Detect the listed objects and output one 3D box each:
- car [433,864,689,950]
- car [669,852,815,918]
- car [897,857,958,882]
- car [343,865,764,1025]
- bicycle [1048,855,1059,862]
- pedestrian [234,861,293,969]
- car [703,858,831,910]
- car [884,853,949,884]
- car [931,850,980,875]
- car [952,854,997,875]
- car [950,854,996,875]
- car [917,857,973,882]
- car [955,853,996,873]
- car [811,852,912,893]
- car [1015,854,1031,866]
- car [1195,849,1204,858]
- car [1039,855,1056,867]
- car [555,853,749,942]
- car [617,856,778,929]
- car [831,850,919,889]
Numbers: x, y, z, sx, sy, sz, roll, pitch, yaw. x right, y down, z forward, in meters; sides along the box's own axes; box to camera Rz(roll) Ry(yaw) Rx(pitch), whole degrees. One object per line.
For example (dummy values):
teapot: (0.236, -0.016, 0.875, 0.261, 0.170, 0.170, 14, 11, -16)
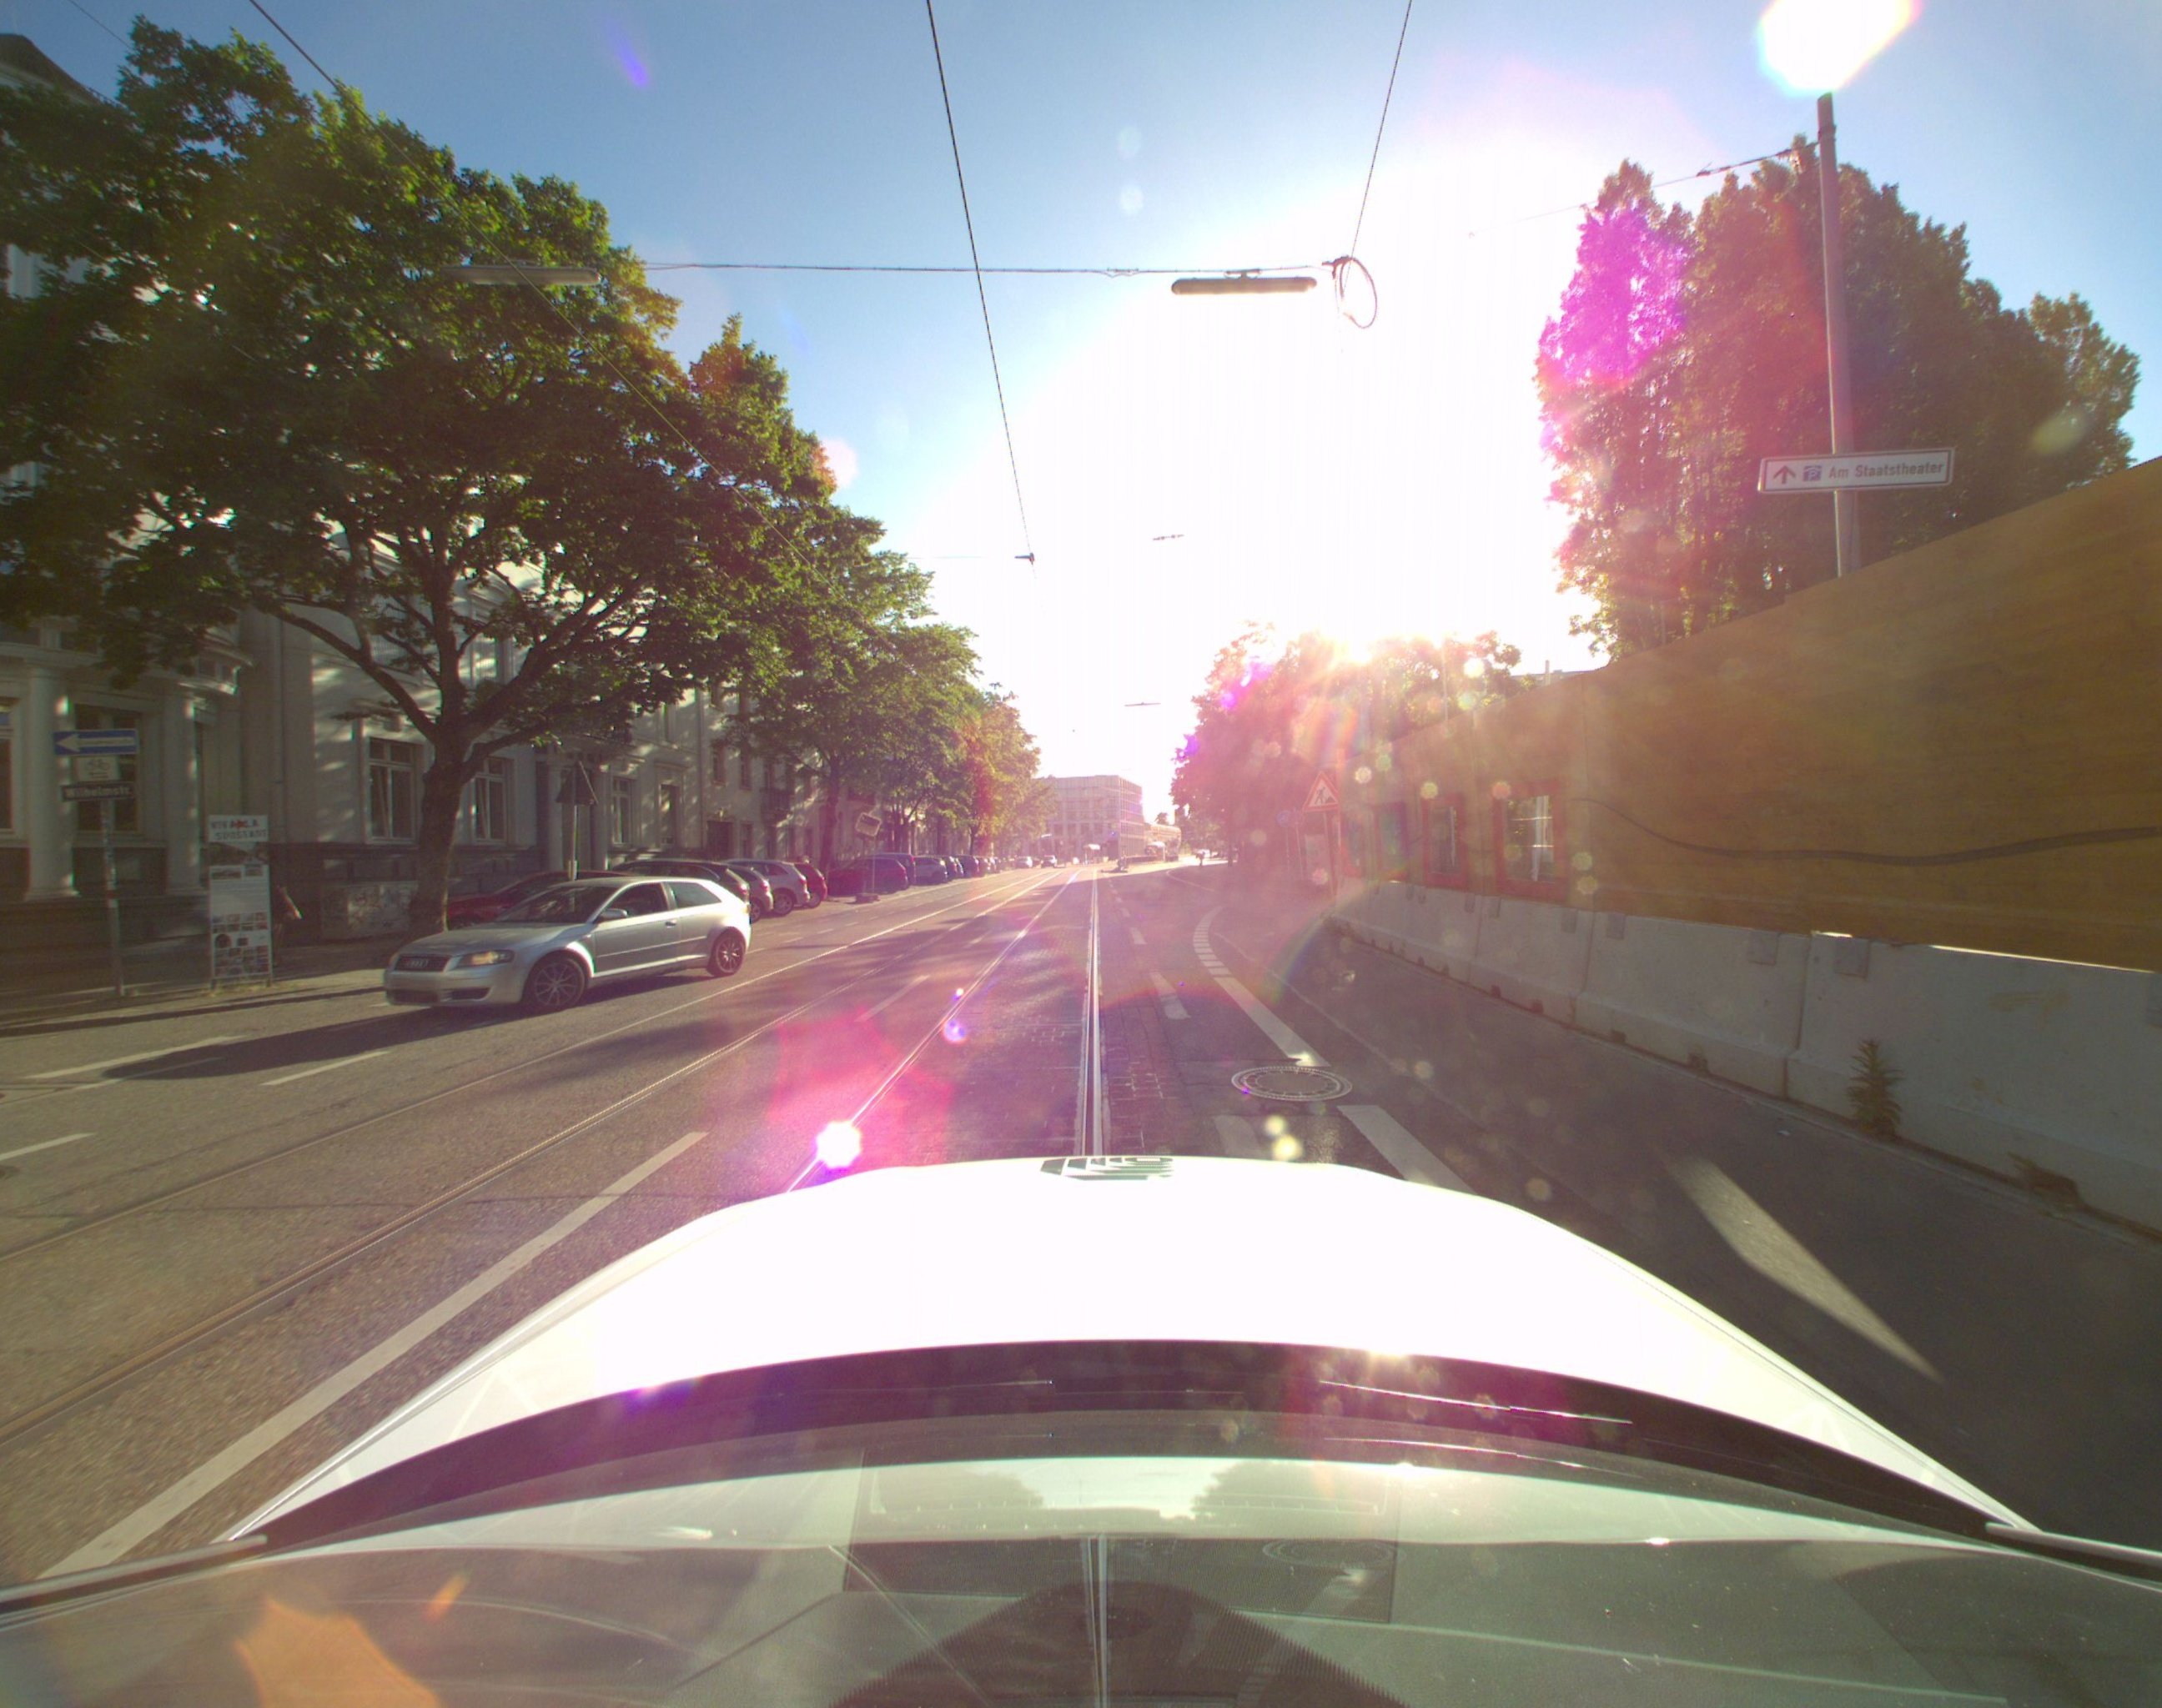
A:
car: (-9.770, 0.929, 15.575, 3.928, 1.453, 1.621, 0, -1, -33)
car: (-9.987, 0.871, 24.069, 3.701, 1.721, 1.594, -2, 0, -34)
car: (-9.318, 0.923, 49.540, 3.391, 1.420, 1.393, -1, -1, -27)
car: (-6.013, 0.914, 9.989, 1.696, 1.436, 4.189, -2, 0, 17)
bicycle: (-4.680, 0.791, 137.020, 1.792, 1.224, 0.597, -2, 0, -8)
pedestrian: (-12.341, 0.907, 12.304, 0.342, 1.572, 0.515, -2, 0, 23)
car: (-10.366, 0.954, 26.970, 3.701, 1.527, 1.468, -2, 0, -34)
car: (-9.391, 0.816, 46.600, 3.391, 1.697, 1.393, -1, -1, -27)
car: (-9.196, 0.592, 59.603, 3.284, 1.698, 1.460, -1, 0, -21)
car: (-8.515, 0.849, 65.132, 3.284, 1.585, 1.460, -1, 0, -21)
car: (-8.351, 0.803, 63.089, 3.284, 1.585, 1.460, -1, 0, -21)
car: (-8.788, 0.982, 52.539, 3.284, 1.484, 1.460, -1, 0, -21)
car: (-9.126, 0.746, 70.403, 3.284, 1.585, 1.460, -2, 0, -21)
car: (-9.897, 0.792, 36.838, 4.182, 1.721, 1.570, -1, 0, -27)
car: (-7.341, 0.753, 103.200, 1.567, 1.490, 4.001, -2, 0, 1)
car: (27.849, -0.144, 191.090, 1.981, 2.013, 4.012, -2, 0, 11)
car: (-4.367, 0.882, 106.764, 1.551, 1.530, 4.006, -2, 0, 5)
car: (-9.636, 0.903, 18.387, 3.701, 1.721, 1.594, -2, 0, -34)
car: (-9.938, 0.941, 21.147, 3.579, 1.662, 1.720, -1, 0, -32)
car: (-10.087, 0.747, 39.908, 3.851, 1.832, 1.715, 0, -1, -29)
